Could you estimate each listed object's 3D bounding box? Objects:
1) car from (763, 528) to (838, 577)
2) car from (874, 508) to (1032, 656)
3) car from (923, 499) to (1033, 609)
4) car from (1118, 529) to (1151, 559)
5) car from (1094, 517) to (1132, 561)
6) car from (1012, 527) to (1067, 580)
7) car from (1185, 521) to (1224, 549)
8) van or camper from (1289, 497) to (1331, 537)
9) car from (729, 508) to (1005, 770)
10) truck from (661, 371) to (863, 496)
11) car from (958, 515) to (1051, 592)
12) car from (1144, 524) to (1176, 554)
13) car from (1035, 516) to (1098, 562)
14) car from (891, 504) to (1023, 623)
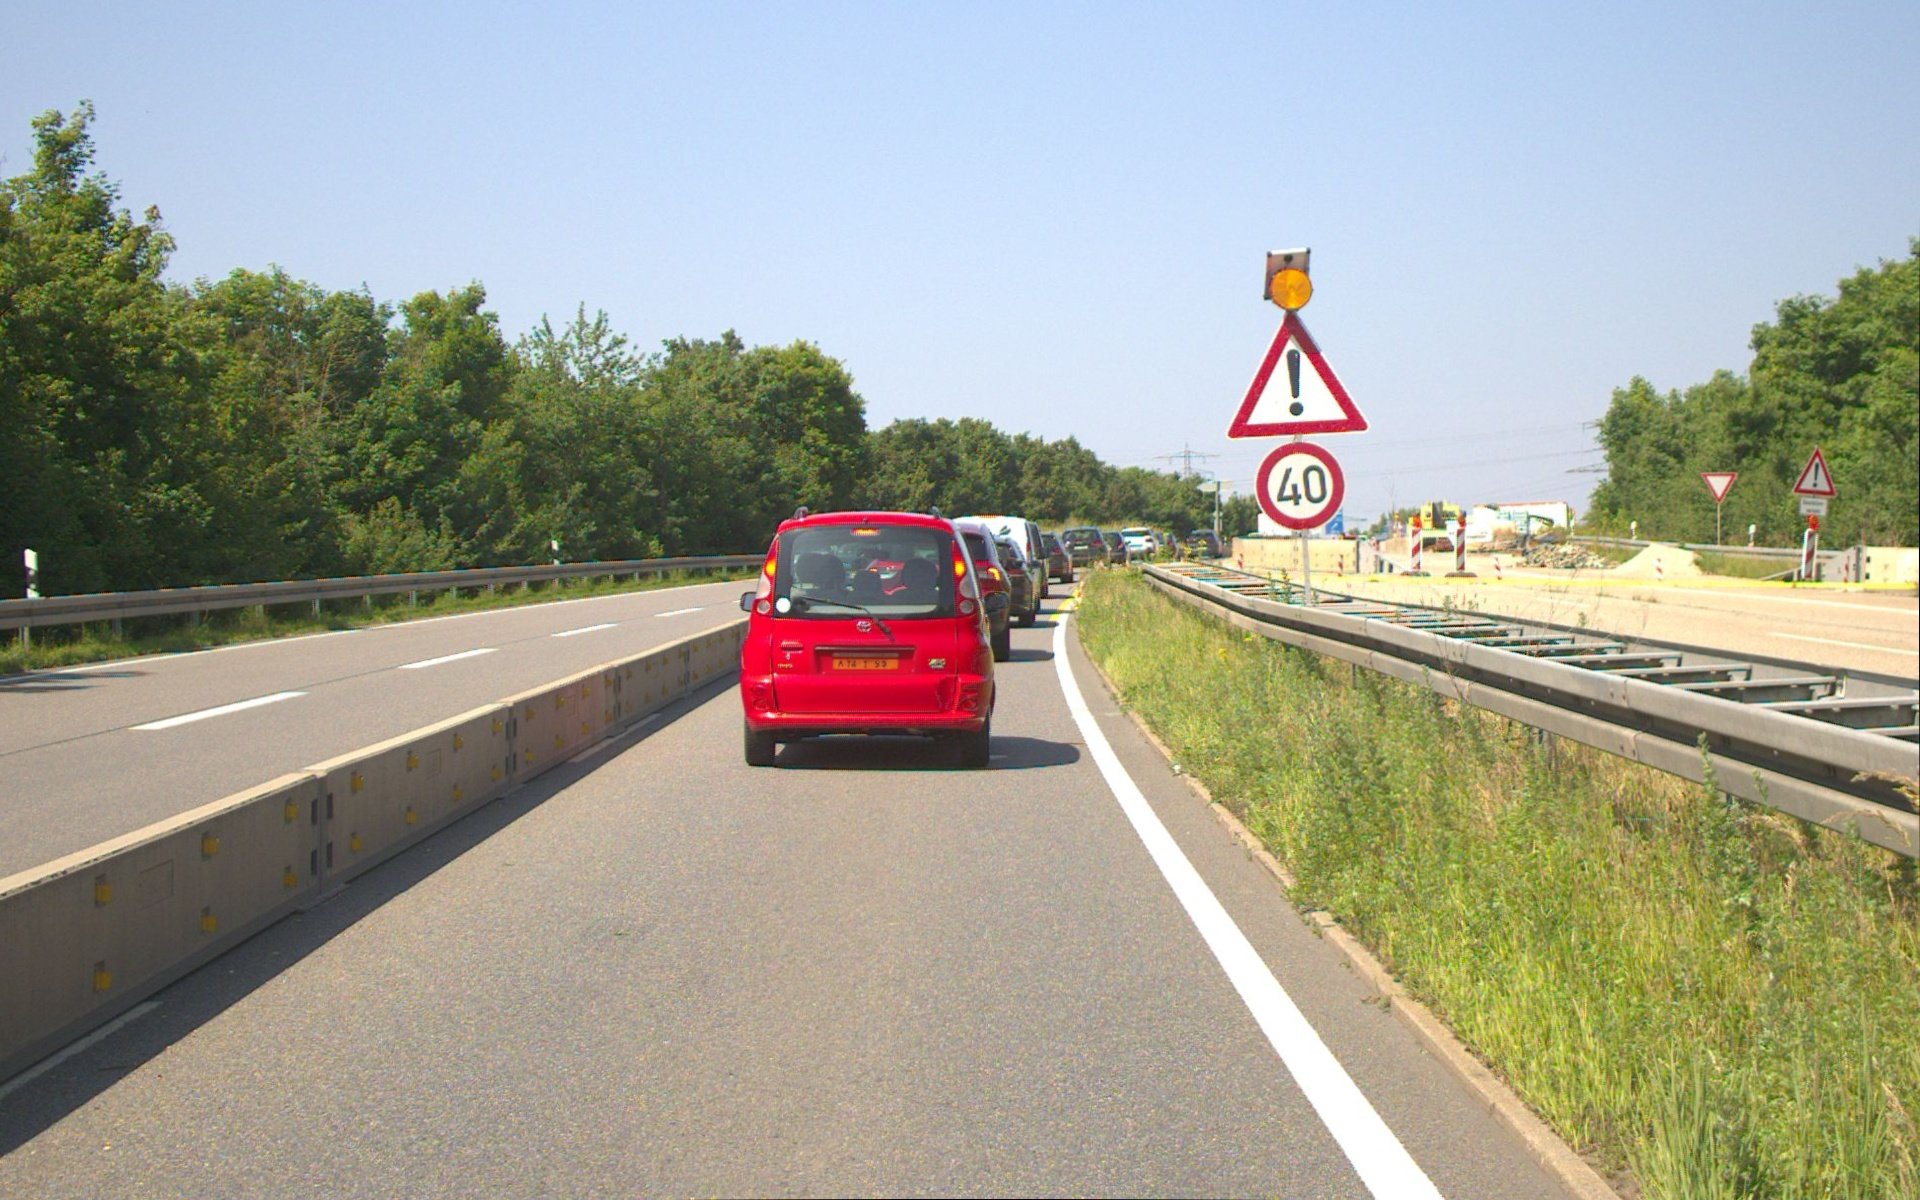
[{"bbox_3d":[-4.765,-1.440,103.214,1.949,1.417,4.353,-1,1,1],"label":"car"},{"bbox_3d":[-0.080,-0.258,42.076,1.830,1.716,4.000,0,1,0],"label":"car"},{"bbox_3d":[0.303,-0.888,65.324,1.993,1.997,4.000,1,1,-1],"label":"car"},{"bbox_3d":[7.758,-2.498,152.586,1.421,1.294,2.879,0,1,4],"label":"car"},{"bbox_3d":[6.093,-2.446,136.861,1.502,1.730,3.170,0,1,2],"label":"car"},{"bbox_3d":[2.254,-1.317,96.808,1.502,1.446,3.325,0,1,2],"label":"car"},{"bbox_3d":[13.661,-3.646,192.414,1.993,1.546,4.000,0,1,2],"label":"car"},{"bbox_3d":[23.838,-5.638,234.116,2.328,2.697,4.593,-1,1,0],"label":"van or camper"},{"bbox_3d":[-0.654,0.213,23.886,1.751,1.667,4.000,0,1,-2],"label":"car"},{"bbox_3d":[-8.886,-7.469,155.020,8.621,5.357,3.389,-1,1,4],"label":"truck"},{"bbox_3d":[1.011,-1.101,80.027,1.993,1.744,4.000,0,1,-1],"label":"car"},{"bbox_3d":[9.796,-2.986,168.449,1.502,1.446,3.169,-1,1,4],"label":"car"},{"bbox_3d":[3.755,-2.136,120.686,1.994,1.579,4.000,0,1,4],"label":"car"},{"bbox_3d":[-0.005,-0.596,55.543,1.993,1.831,4.000,0,1,2],"label":"car"}]
